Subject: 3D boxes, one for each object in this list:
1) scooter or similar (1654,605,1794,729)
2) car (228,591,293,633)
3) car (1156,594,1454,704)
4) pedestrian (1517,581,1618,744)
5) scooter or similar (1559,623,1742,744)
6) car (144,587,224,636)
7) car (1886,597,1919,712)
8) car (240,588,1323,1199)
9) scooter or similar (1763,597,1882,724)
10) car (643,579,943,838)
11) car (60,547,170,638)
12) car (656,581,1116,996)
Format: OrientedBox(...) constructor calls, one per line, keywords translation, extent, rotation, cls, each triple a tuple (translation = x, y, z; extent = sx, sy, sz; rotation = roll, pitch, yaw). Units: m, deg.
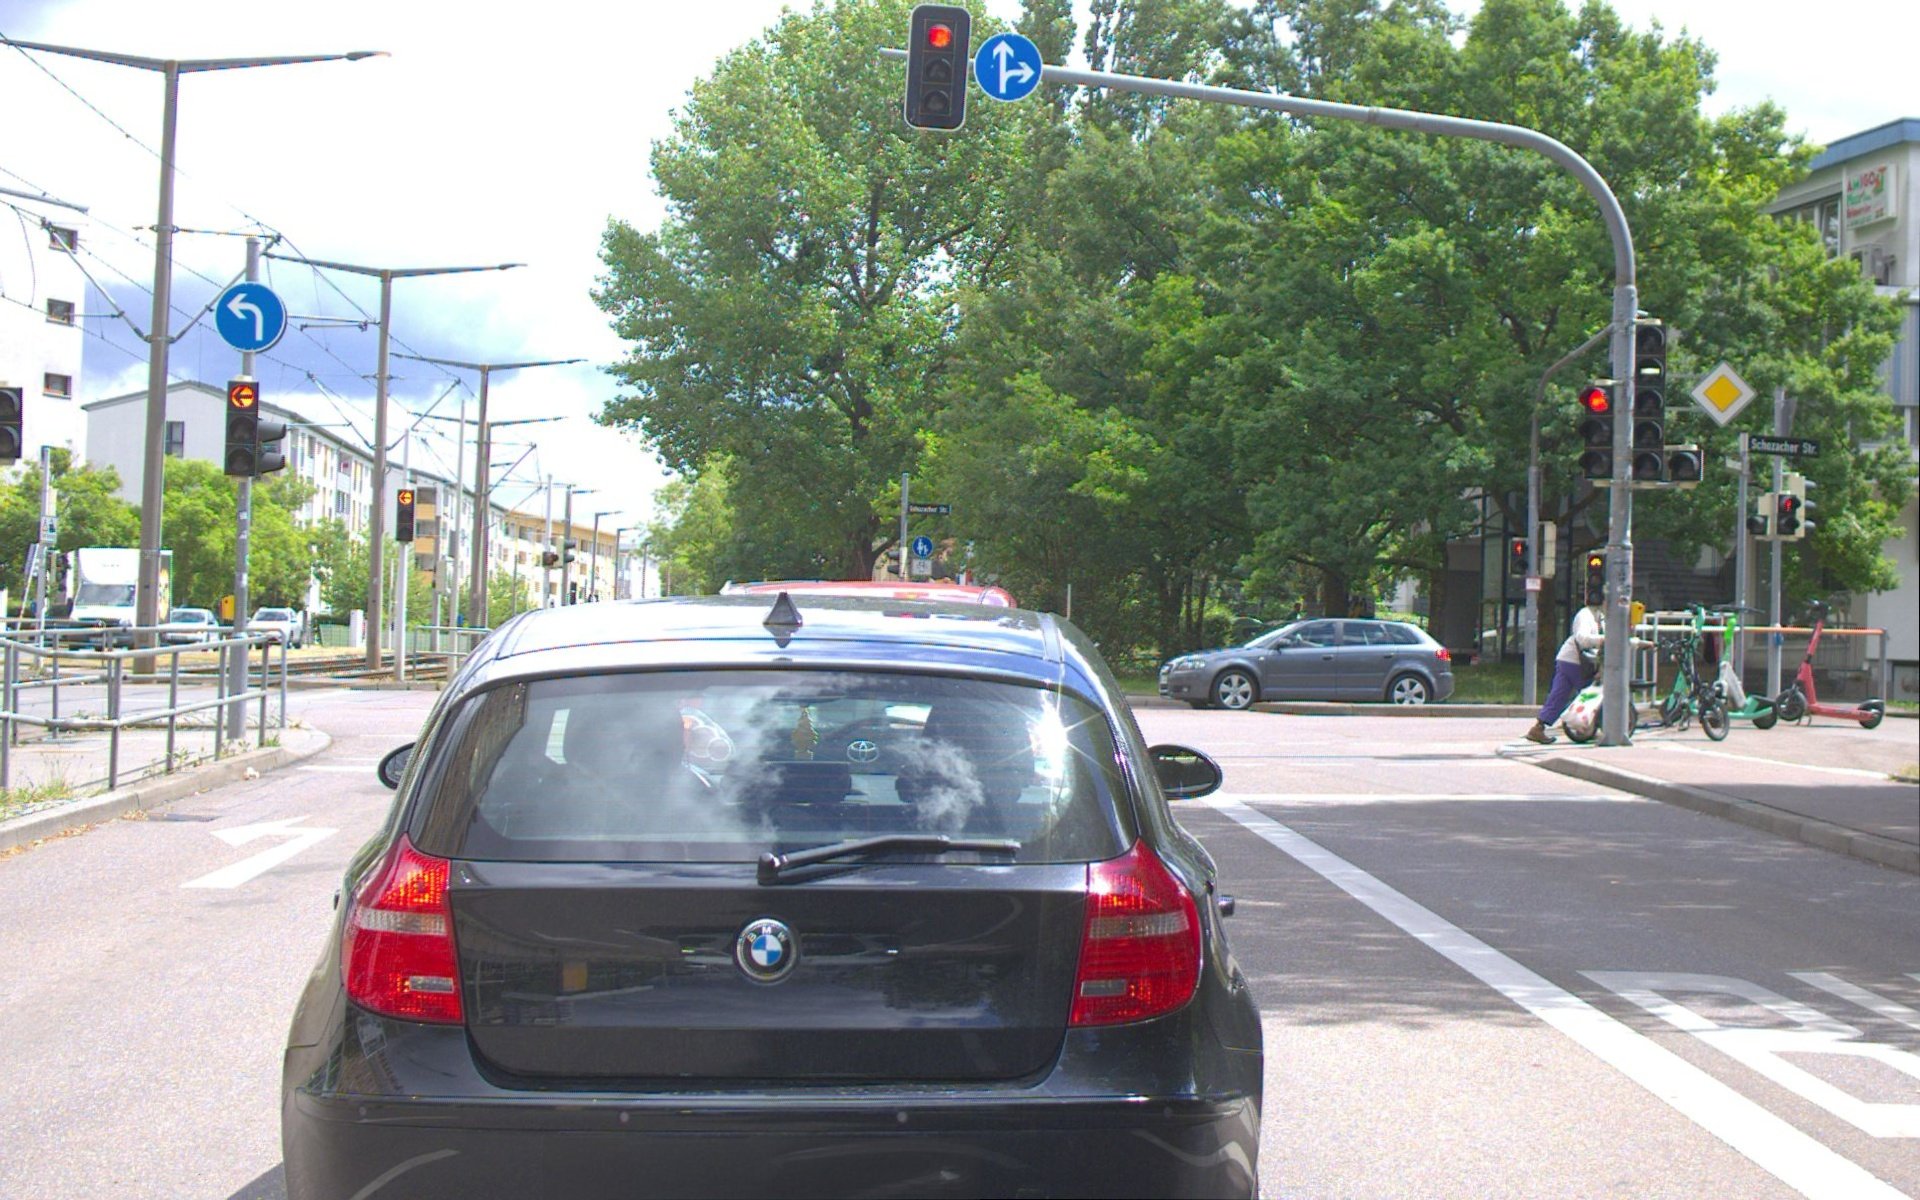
OrientedBox(translation=(7.390, 0.642, 33.254), extent=(1.287, 1.185, 0.385), rotation=(0, 0, -16), cls="scooter or similar")
OrientedBox(translation=(-28.015, 0.476, 137.818), extent=(1.966, 1.590, 4.000), rotation=(1, 0, -3), cls="car")
OrientedBox(translation=(4.971, 0.704, 49.808), extent=(3.986, 1.521, 1.676), rotation=(1, 0, -9), cls="car")
OrientedBox(translation=(5.467, 0.549, 30.941), extent=(0.865, 1.438, 0.798), rotation=(1, 0, 10), cls="pedestrian")
OrientedBox(translation=(6.181, 0.734, 30.725), extent=(1.780, 1.047, 0.410), rotation=(0, 1, -31), cls="scooter or similar")
OrientedBox(translation=(-26.418, 0.363, 117.169), extent=(1.966, 1.590, 4.000), rotation=(1, 0, -3), cls="car")
OrientedBox(translation=(15.127, 0.779, 48.517), extent=(3.576, 1.595, 1.712), rotation=(1, 0, -12), cls="car")
OrientedBox(translation=(-0.243, 0.704, 7.041), extent=(1.654, 1.414, 3.517), rotation=(1, 1, 1), cls="car")
OrientedBox(translation=(8.560, 0.601, 34.126), extent=(1.106, 1.253, 0.332), rotation=(0, 0, -12), cls="scooter or similar")
OrientedBox(translation=(-0.993, 0.595, 20.924), extent=(1.654, 1.414, 3.517), rotation=(1, 1, -2), cls="car")
OrientedBox(translation=(-25.550, -0.245, 104.069), extent=(2.139, 2.631, 5.359), rotation=(1, 0, -2), cls="car")
OrientedBox(translation=(-0.255, 0.651, 13.807), extent=(1.594, 1.414, 3.517), rotation=(1, 1, 0), cls="car")
